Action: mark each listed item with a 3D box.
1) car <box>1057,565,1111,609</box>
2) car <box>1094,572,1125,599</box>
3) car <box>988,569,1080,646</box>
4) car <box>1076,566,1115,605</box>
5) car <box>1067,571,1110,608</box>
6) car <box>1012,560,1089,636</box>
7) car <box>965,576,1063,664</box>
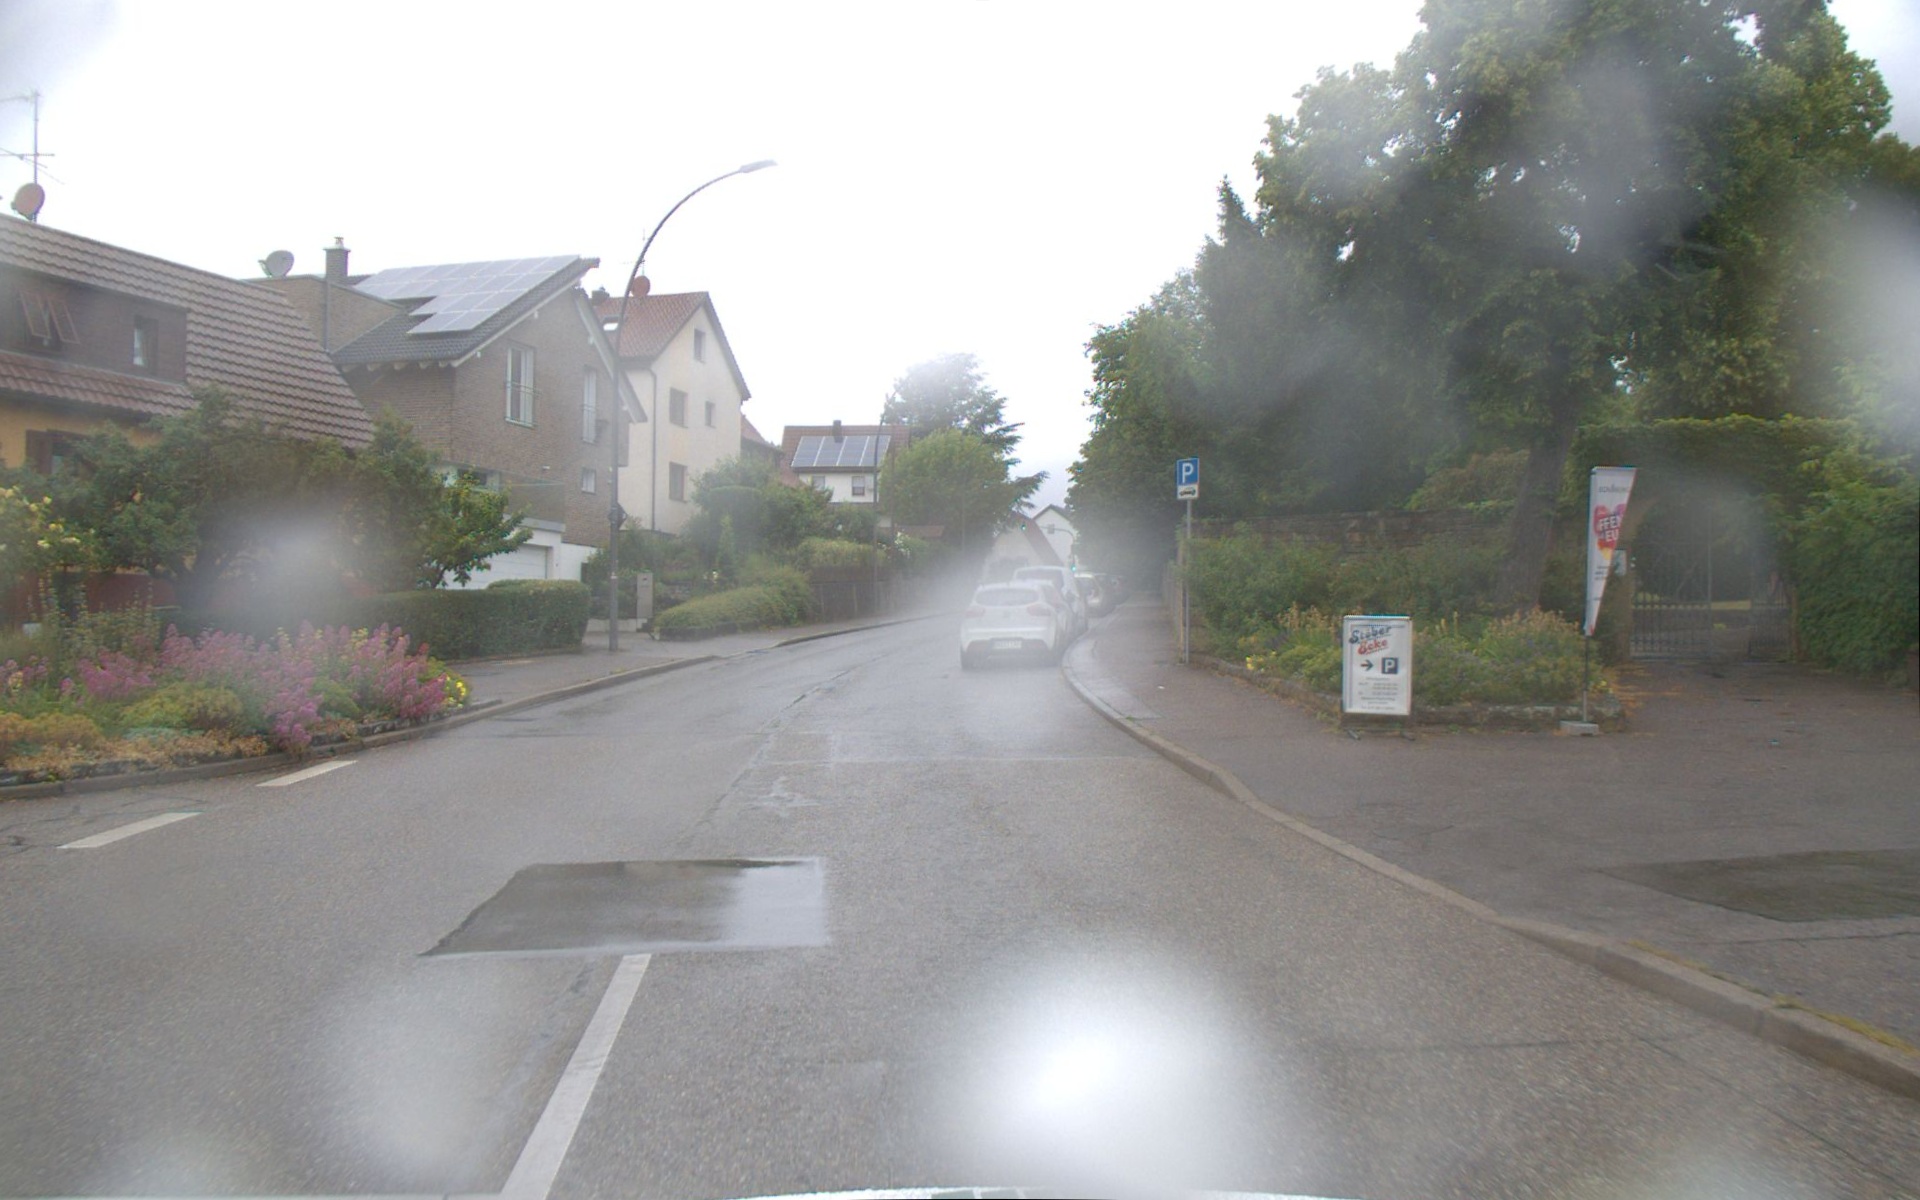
[{"bbox_3d":[4.751,-0.479,63.046,1.776,1.601,3.883,-1,0,8],"label":"car"},{"bbox_3d":[8.039,-0.809,88.972,1.617,1.395,4.184,-1,1,5],"label":"car"},{"bbox_3d":[1.636,0.116,35.357,1.610,1.487,4.004,0,2,8],"label":"car"},{"bbox_3d":[6.175,-0.661,75.390,1.705,1.697,4.500,-1,0,5],"label":"car"},{"bbox_3d":[5.383,-0.442,69.030,1.727,1.472,4.699,-1,0,5],"label":"car"},{"bbox_3d":[2.308,-0.067,41.318,1.602,1.771,4.139,-1,1,7],"label":"car"},{"bbox_3d":[1.053,0.315,30.443,1.577,1.506,4.041,0,1,5],"label":"car"}]
